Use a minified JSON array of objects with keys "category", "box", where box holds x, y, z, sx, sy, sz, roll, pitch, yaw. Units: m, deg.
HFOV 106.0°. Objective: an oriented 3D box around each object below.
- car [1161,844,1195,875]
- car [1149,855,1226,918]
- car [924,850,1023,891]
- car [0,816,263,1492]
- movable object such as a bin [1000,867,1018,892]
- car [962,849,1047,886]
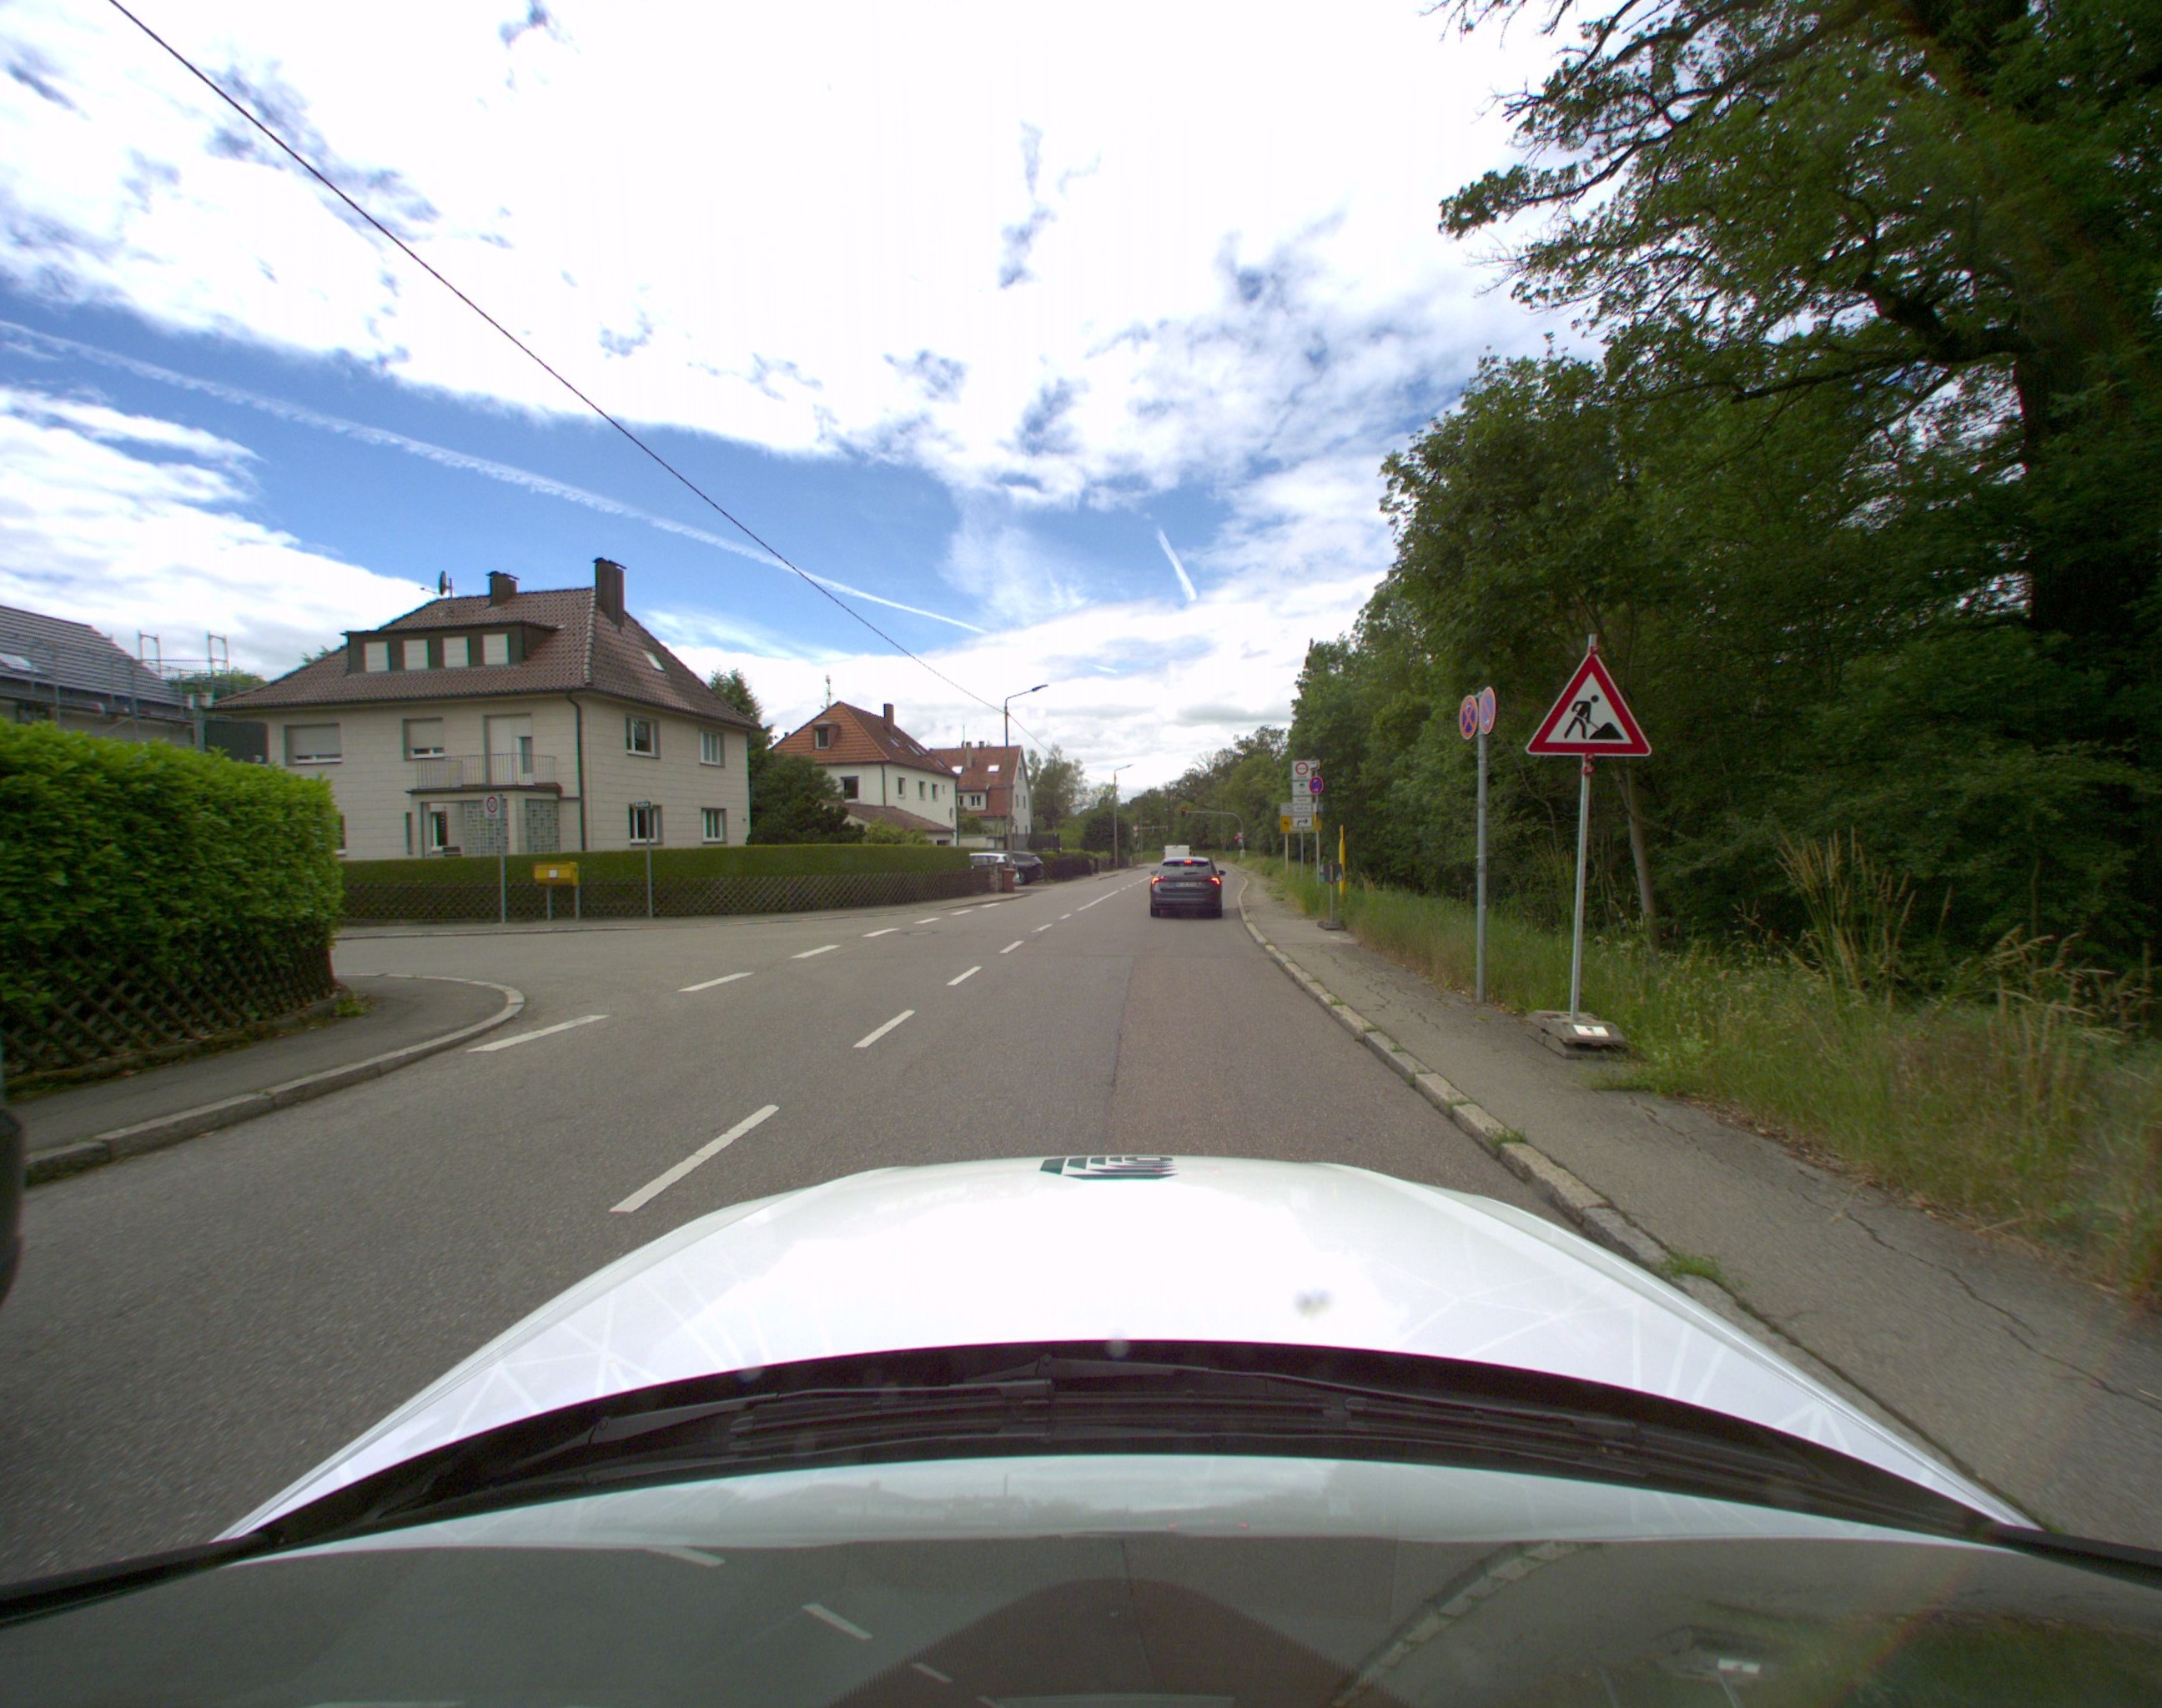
[{"category":"car","box":[6.332,0.346,53.606,2.062,1.922,4.928,-1,0,4]},{"category":"car","box":[2.787,0.752,20.854,1.717,1.439,4.335,-1,0,9]},{"category":"car","box":[-4.605,0.712,35.328,3.972,1.618,2.001,-2,0,1]},{"category":"car","box":[-3.444,0.735,0.357,1.828,1.597,4.321,-1,0,-1]},{"category":"movable object such as a bin","box":[-2.814,1.009,31.967,0.596,0.951,0.580,-1,0,4]},{"category":"car","box":[-3.748,0.668,40.498,3.974,1.706,1.916,-1,0,0]}]
